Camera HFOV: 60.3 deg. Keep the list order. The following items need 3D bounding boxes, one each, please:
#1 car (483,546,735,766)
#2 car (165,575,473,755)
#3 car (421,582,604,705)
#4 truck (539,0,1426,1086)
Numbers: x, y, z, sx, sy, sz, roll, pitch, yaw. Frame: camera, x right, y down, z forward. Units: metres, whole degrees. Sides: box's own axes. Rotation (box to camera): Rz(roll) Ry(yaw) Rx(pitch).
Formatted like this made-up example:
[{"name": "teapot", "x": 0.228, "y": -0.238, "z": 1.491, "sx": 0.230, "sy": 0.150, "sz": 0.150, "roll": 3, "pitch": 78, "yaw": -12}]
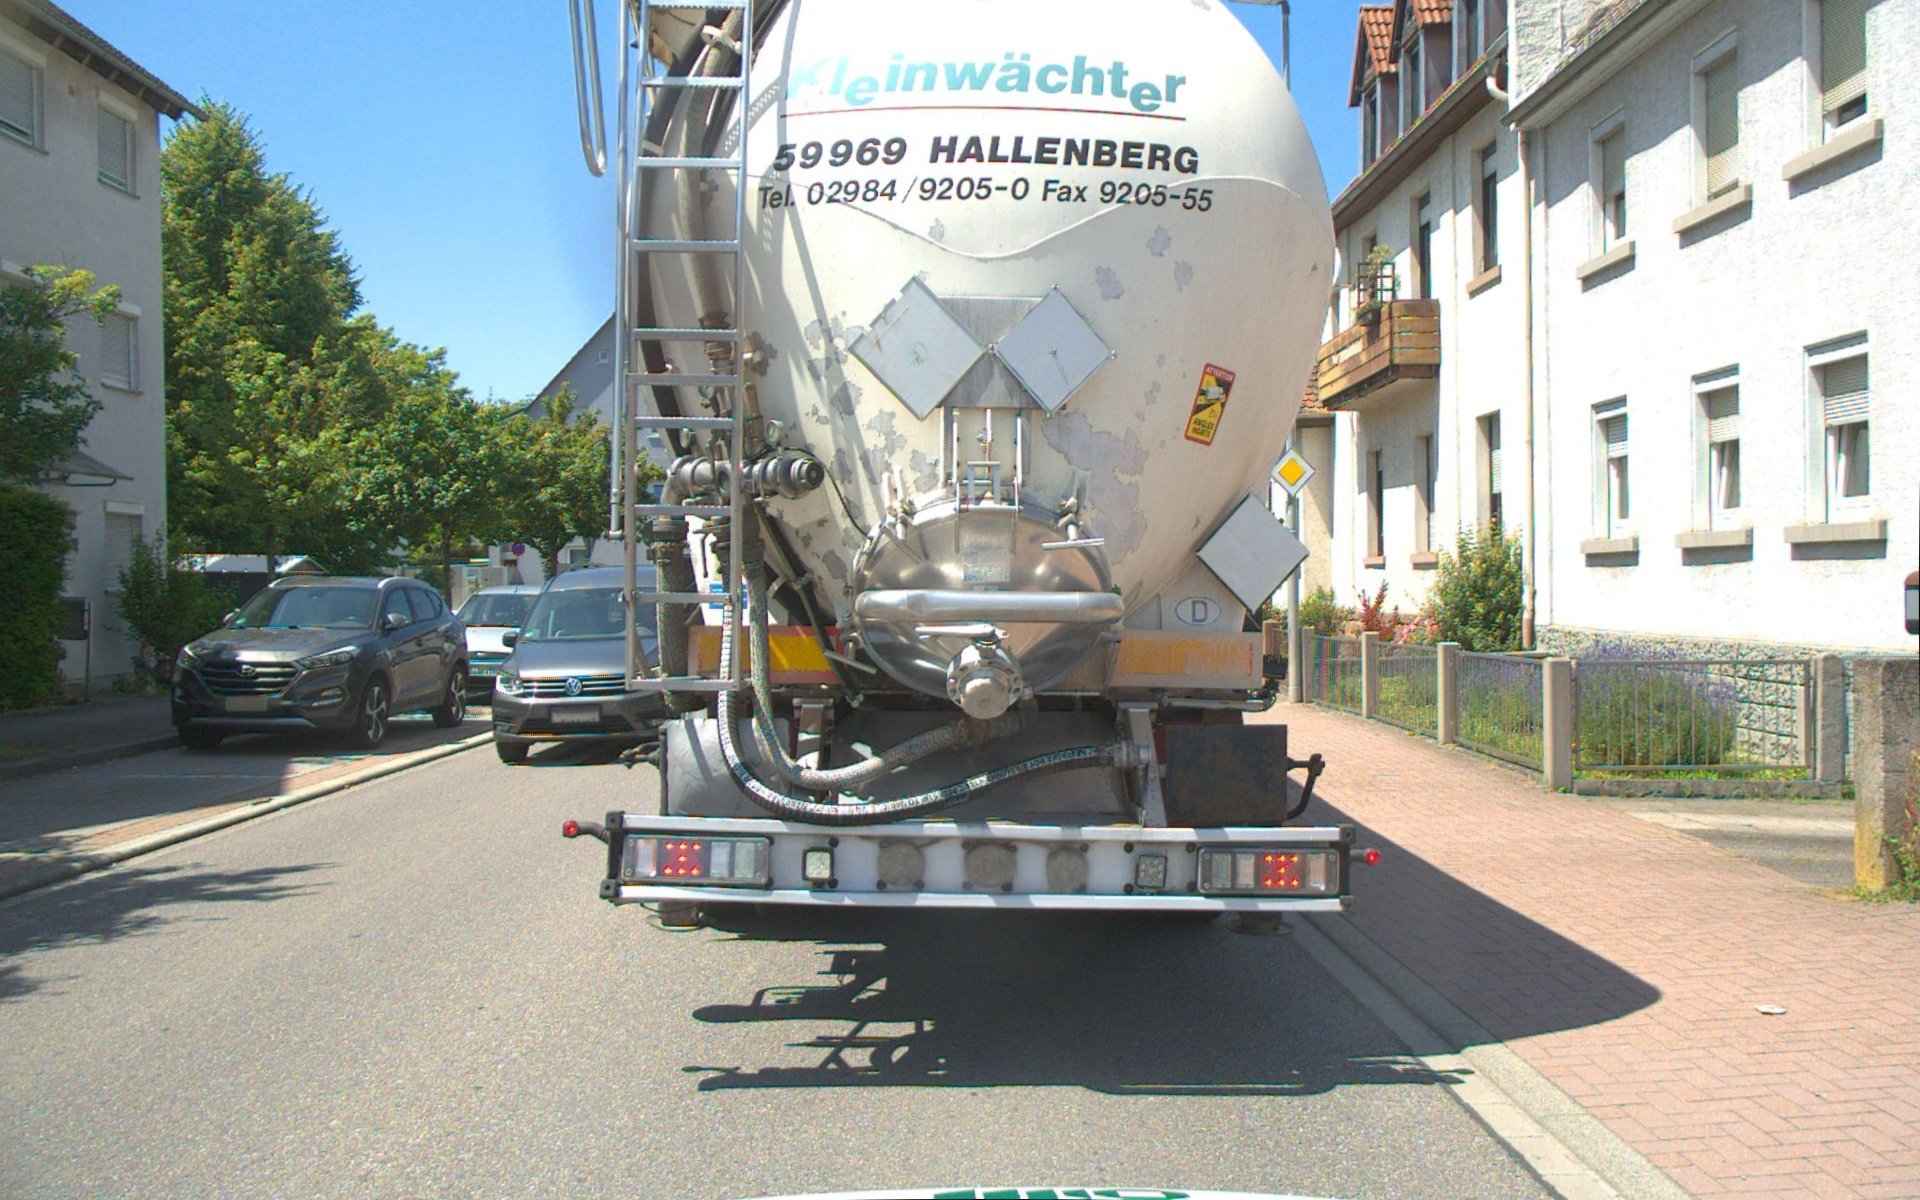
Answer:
[{"name": "car", "x": -3.415, "y": 0.479, "z": 16.895, "sx": 1.622, "sy": 1.887, "sz": 4.463, "roll": -2, "pitch": 0, "yaw": -1}, {"name": "car", "x": -6.454, "y": 0.582, "z": 17.141, "sx": 1.657, "sy": 1.648, "sz": 3.997, "roll": 0, "pitch": 0, "yaw": 0}, {"name": "car", "x": -6.329, "y": 0.562, "z": 23.776, "sx": 1.663, "sy": 1.608, "sz": 3.837, "roll": 0, "pitch": 0, "yaw": -2}, {"name": "truck", "x": 0.023, "y": -0.651, "z": 9.626, "sx": 2.587, "sy": 4.086, "sz": 9.560, "roll": 0, "pitch": 0, "yaw": -1}]
